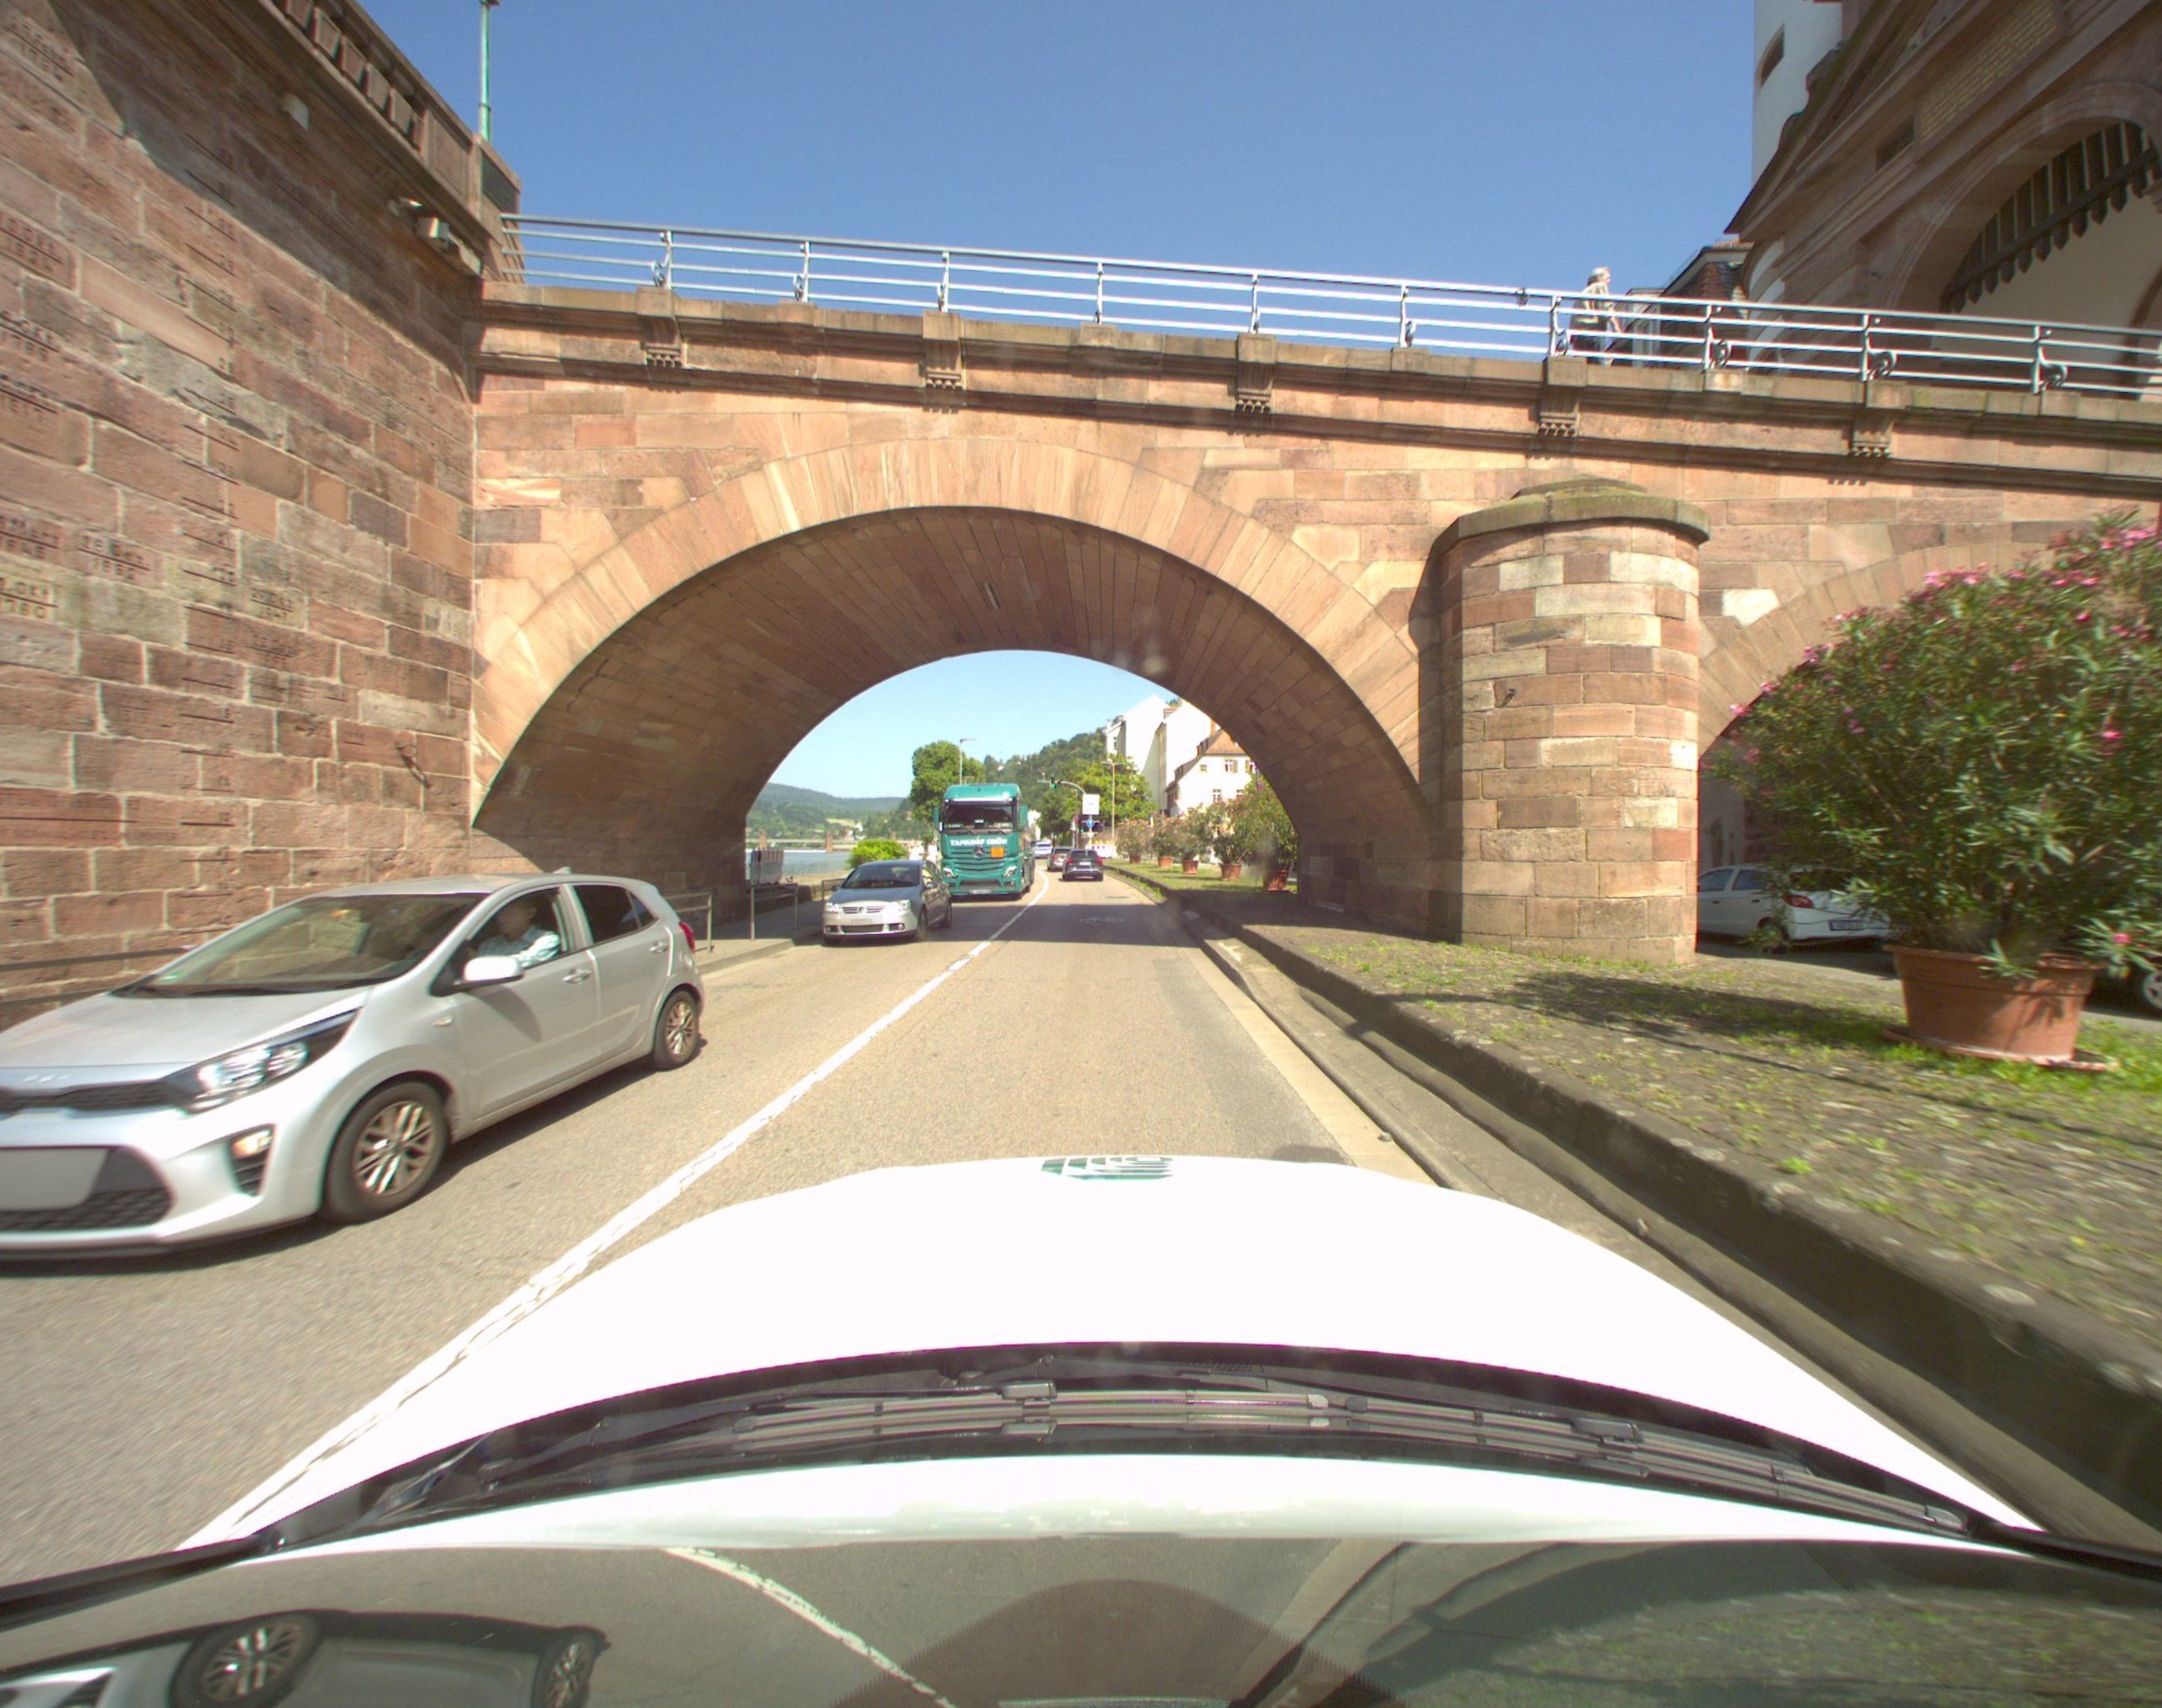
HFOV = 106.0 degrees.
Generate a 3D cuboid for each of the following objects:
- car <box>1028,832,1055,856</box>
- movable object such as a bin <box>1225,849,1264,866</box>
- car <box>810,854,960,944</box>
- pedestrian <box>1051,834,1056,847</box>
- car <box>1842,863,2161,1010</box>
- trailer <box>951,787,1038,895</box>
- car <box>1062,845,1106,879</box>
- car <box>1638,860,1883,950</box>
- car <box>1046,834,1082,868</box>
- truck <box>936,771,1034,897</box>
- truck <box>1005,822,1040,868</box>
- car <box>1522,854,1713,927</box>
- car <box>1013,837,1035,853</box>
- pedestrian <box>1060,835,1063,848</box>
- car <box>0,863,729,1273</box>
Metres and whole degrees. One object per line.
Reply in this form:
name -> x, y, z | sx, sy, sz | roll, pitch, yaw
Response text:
car -> -3.553, -0.838, 72.773 | 1.992, 2.014, 3.989 | 1, 0, -8
movable object such as a bin -> 11.690, 0.220, 58.091 | 2.972, 1.110, 1.243 | -1, 1, -42
car -> -3.573, 0.739, 15.689 | 1.717, 1.436, 4.401 | -2, 0, 1
pedestrian -> -3.612, -1.748, 107.899 | 0.679, 1.742, 0.911 | 0, 0, -5
car -> 12.000, 0.859, 9.748 | 1.768, 1.437, 4.496 | -1, 0, 4
trailer -> -3.257, -0.527, 33.682 | 2.517, 3.643, 11.525 | -1, 1, -1
car -> 0.082, 0.349, 38.802 | 1.853, 1.524, 3.996 | -1, 0, -3
car -> 12.246, 0.844, 15.004 | 1.549, 1.419, 3.569 | 0, 0, 0
car -> -1.106, -0.175, 50.259 | 1.990, 2.014, 3.993 | -1, -1, -5
truck -> -3.096, -0.666, 27.803 | 2.516, 3.748, 6.245 | -2, 1, 0
truck -> -4.635, -0.737, 63.473 | 2.373, 3.261, 7.596 | -3, 1, -6
car -> 12.575, 0.779, 19.488 | 1.885, 1.492, 4.421 | -1, 0, 4
car -> -6.290, -0.934, 89.340 | 1.994, 1.662, 3.984 | 0, -1, -11
pedestrian -> -2.566, -1.641, 107.105 | 0.455, 1.606, 0.578 | 0, 0, -5
car -> -3.722, 0.806, 4.831 | 1.529, 1.437, 3.729 | -2, 0, 1
